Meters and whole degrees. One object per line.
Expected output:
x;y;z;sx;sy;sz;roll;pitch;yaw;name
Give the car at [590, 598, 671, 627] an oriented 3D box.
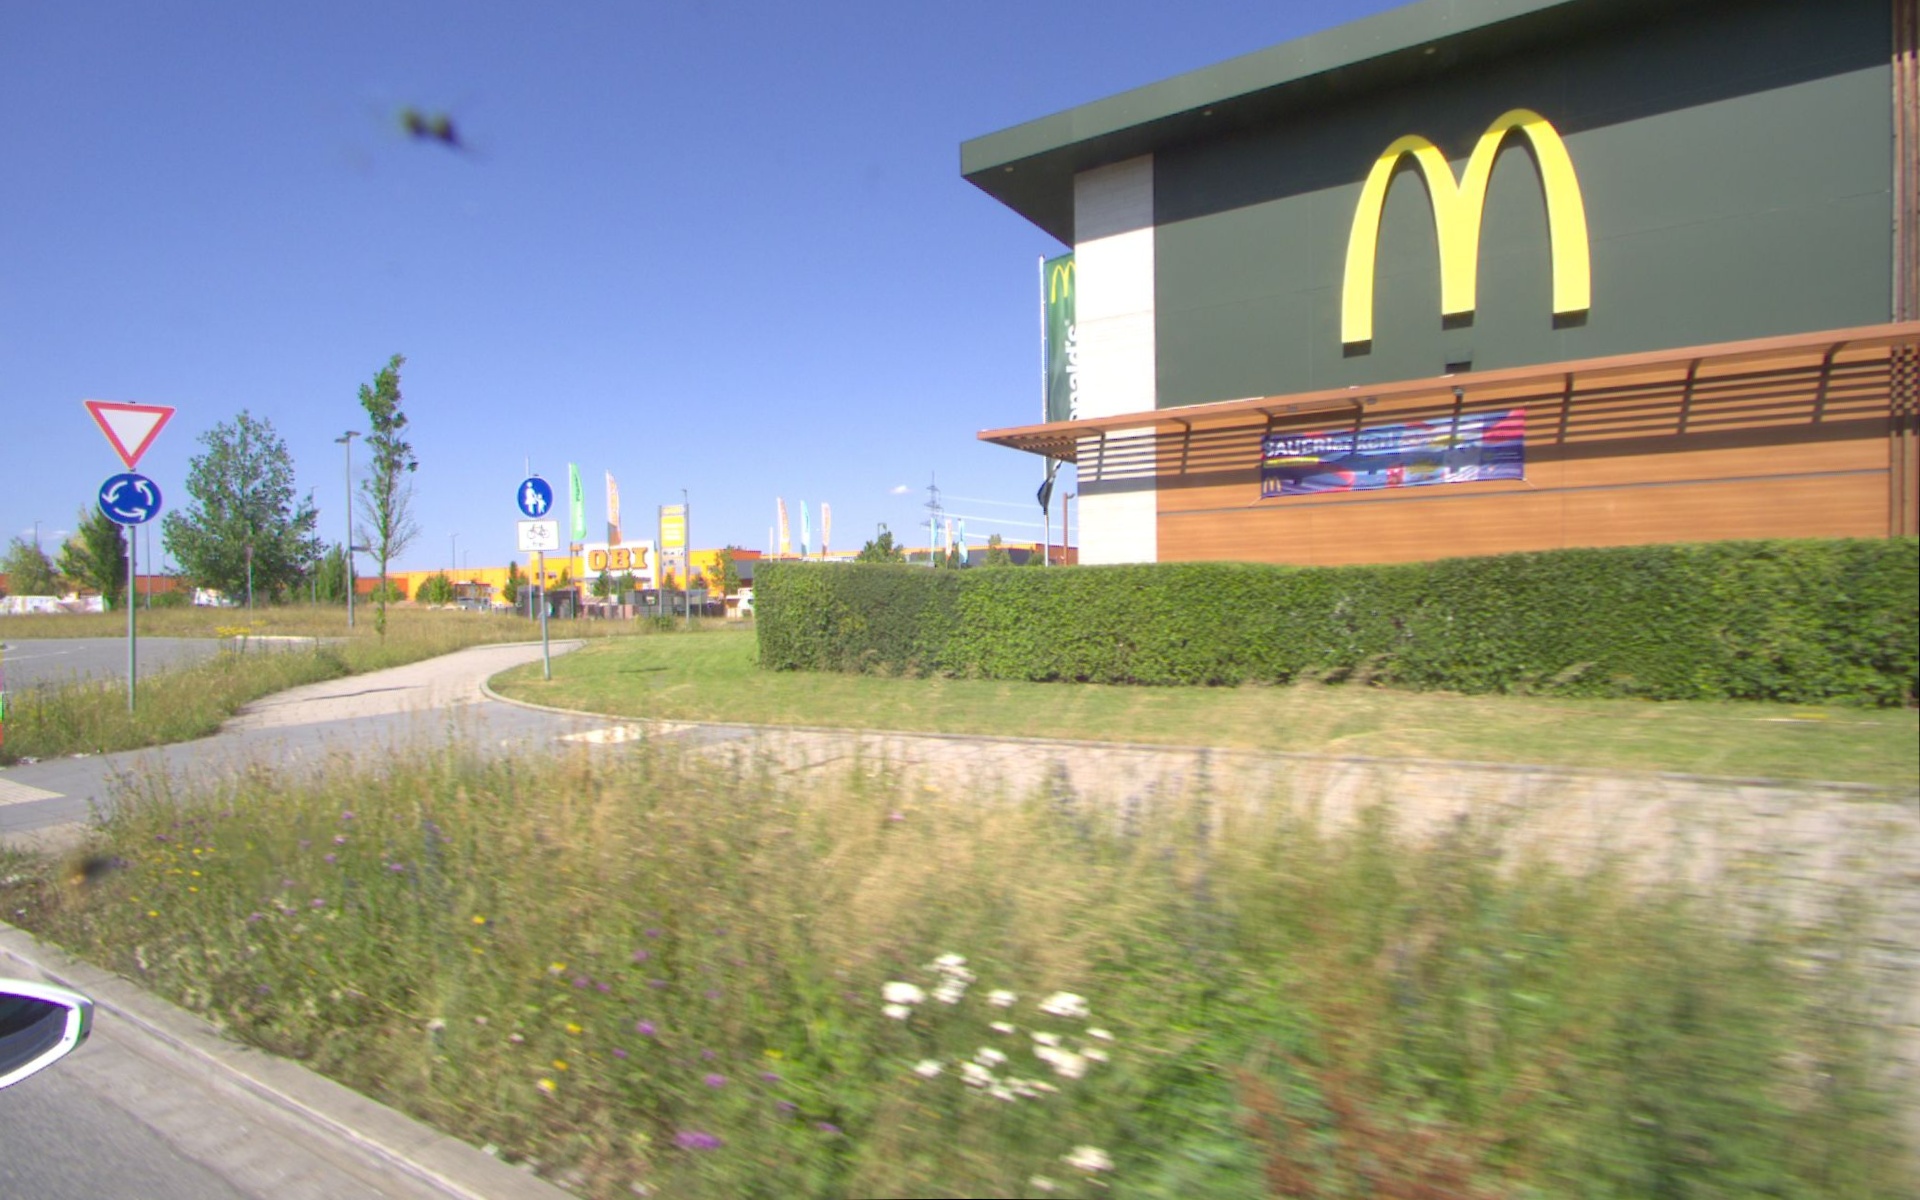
-17.979;0.658;54.779;1.828;1.479;3.981;-1;0;30;car
